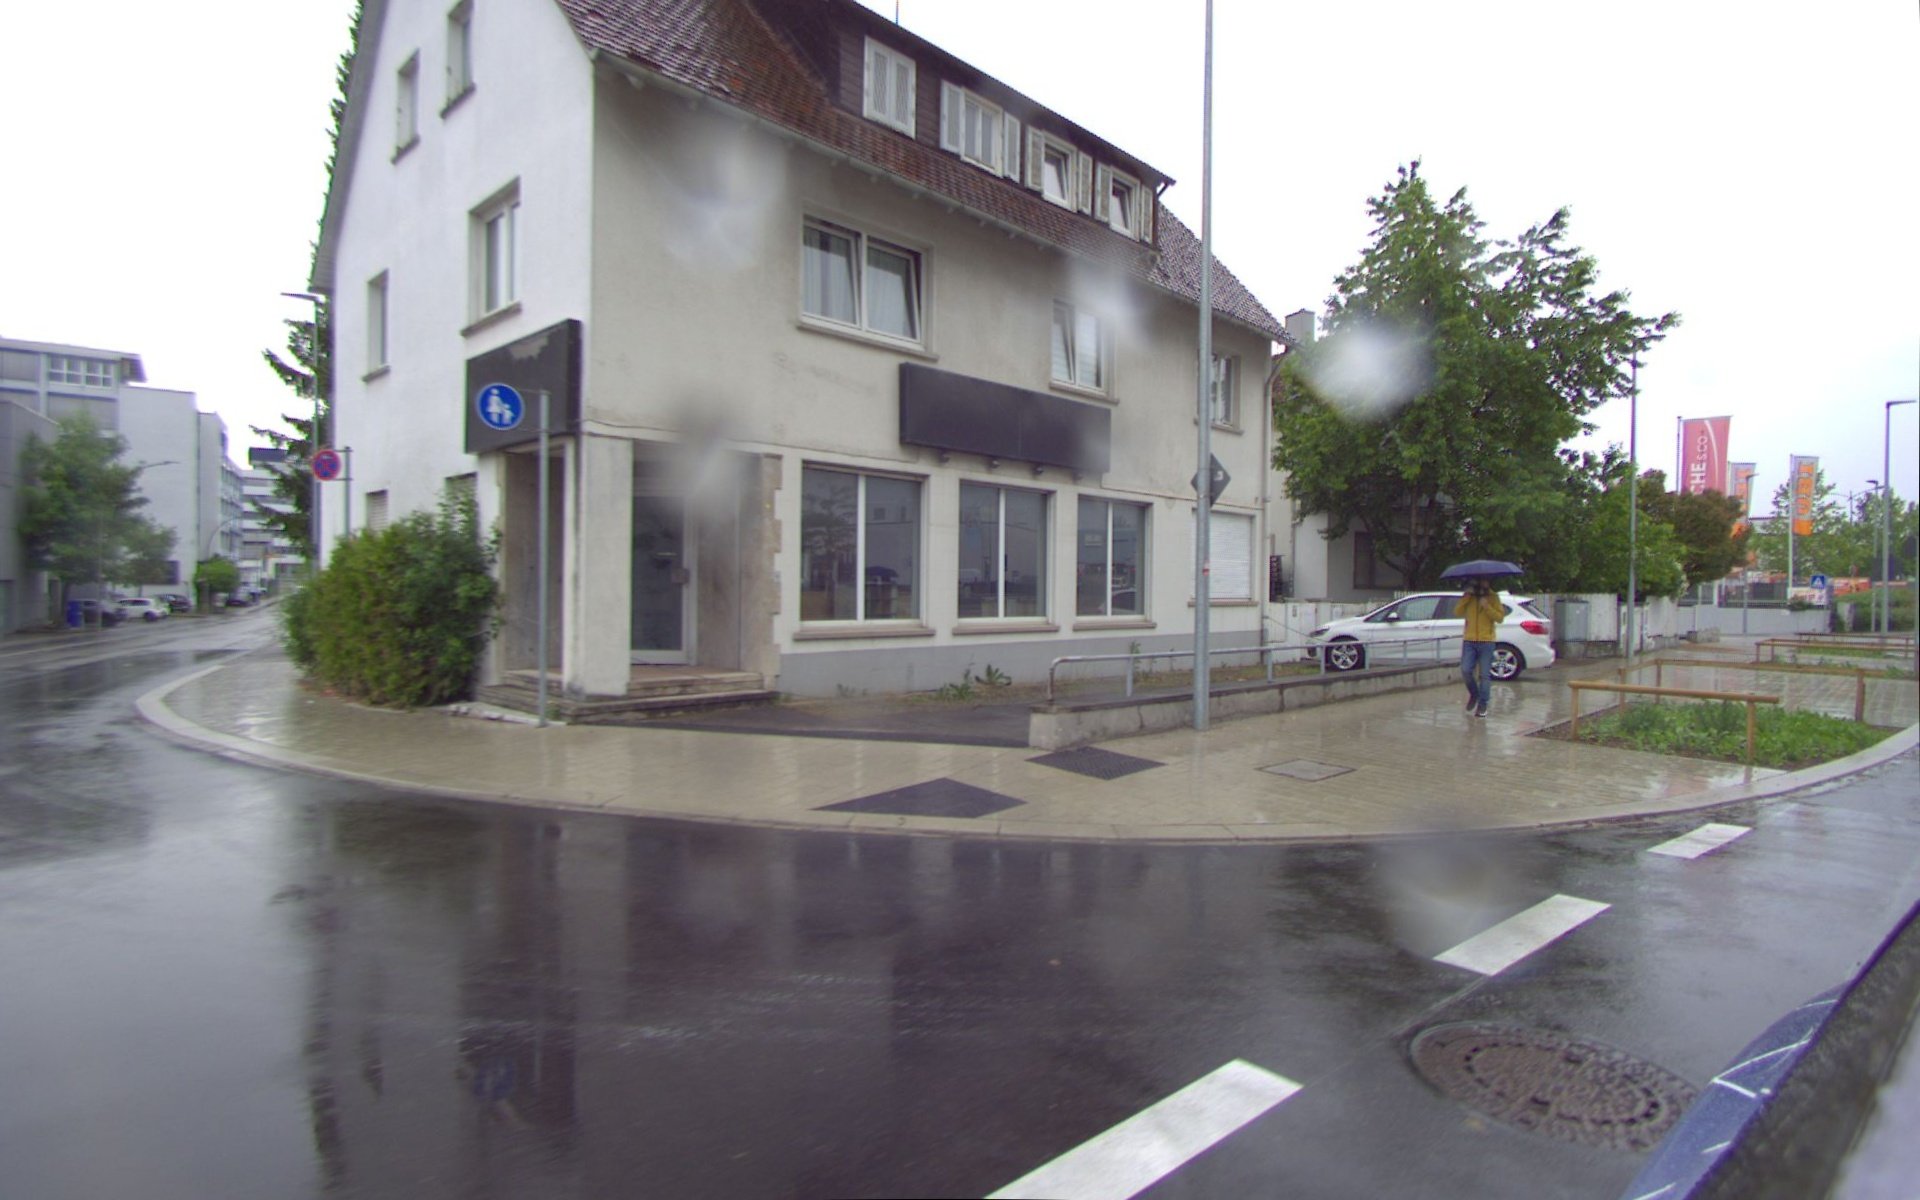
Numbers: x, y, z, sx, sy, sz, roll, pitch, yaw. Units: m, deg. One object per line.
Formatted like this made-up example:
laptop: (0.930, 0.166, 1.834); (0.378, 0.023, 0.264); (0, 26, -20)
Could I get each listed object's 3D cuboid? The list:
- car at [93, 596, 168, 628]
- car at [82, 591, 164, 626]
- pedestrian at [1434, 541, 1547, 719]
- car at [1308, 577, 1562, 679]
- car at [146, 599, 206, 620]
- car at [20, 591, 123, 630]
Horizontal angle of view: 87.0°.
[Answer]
car: (-57.877, 0.847, 70.733); (3.927, 2.039, 1.998); (-2, -2, -37)
car: (-54.139, 0.536, 65.560); (3.927, 2.039, 1.998); (-2, -2, -37)
pedestrian: (6.501, 0.331, 12.391); (0.859, 2.038, 1.176); (3, 2, 44)
car: (8.925, 0.450, 19.094); (4.111, 1.600, 1.977); (3, 1, 32)
car: (-66.202, 0.801, 85.524); (3.926, 1.505, 1.998); (-2, -2, -37)
car: (-47.256, 0.559, 53.932); (3.927, 1.814, 1.998); (-2, -2, -37)
